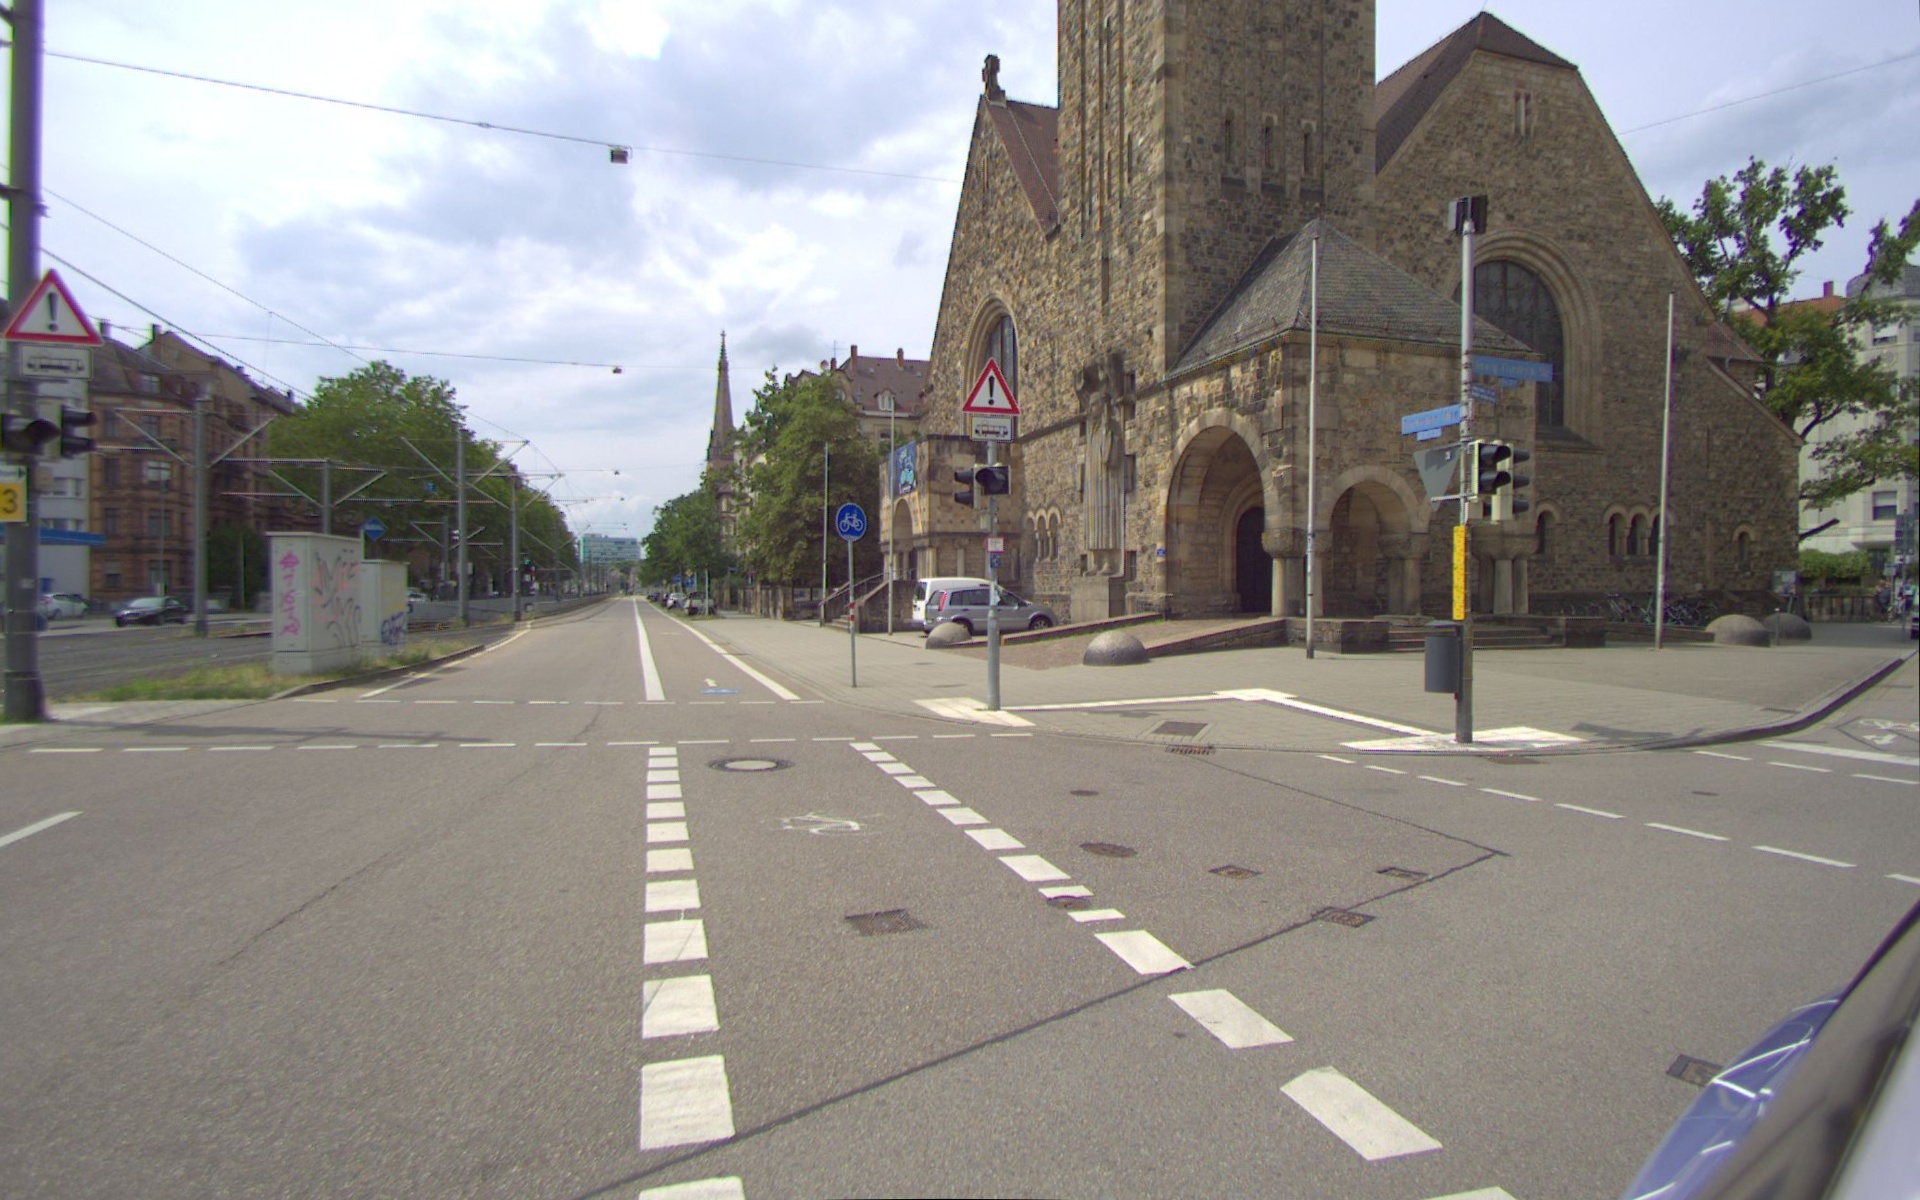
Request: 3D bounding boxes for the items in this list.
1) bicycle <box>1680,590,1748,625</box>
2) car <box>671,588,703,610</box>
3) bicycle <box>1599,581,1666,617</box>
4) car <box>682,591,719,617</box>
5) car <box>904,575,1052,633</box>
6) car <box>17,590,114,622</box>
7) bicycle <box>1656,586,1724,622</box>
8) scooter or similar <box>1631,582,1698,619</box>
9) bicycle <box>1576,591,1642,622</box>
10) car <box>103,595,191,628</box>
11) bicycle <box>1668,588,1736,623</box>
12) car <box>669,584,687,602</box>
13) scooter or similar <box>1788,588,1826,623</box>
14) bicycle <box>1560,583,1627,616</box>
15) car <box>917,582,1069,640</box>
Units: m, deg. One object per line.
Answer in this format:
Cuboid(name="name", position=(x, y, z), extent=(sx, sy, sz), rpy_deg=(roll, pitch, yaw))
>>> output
Cuboid(name="bicycle", position=(25.101, 0.238, 33.735), extent=(0.534, 1.126, 1.786), rpy_deg=(0, 1, -23))
Cuboid(name="car", position=(-18.356, -0.092, 67.901), extent=(1.911, 1.417, 4.009), rpy_deg=(-2, 1, -16))
Cuboid(name="bicycle", position=(21.616, -0.035, 32.572), extent=(0.534, 1.126, 1.786), rpy_deg=(0, 1, -23))
Cuboid(name="car", position=(-15.268, 0.192, 59.398), extent=(1.911, 1.417, 4.009), rpy_deg=(-2, 1, -16))
Cuboid(name="car", position=(0.554, 0.085, 32.283), extent=(4.328, 1.747, 1.956), rpy_deg=(0, 1, -18))
Cuboid(name="car", position=(-47.015, 0.260, 53.342), extent=(1.954, 1.534, 4.629), rpy_deg=(-2, 1, -15))
Cuboid(name="bicycle", position=(23.960, 0.121, 33.247), extent=(0.534, 1.126, 1.786), rpy_deg=(0, 1, -23))
Cuboid(name="scooter or similar", position=(22.852, -0.009, 32.857), extent=(0.534, 1.154, 1.786), rpy_deg=(0, 1, -23))
Cuboid(name="bicycle", position=(20.711, 0.193, 32.327), extent=(0.534, 0.969, 1.786), rpy_deg=(0, 1, -23))
Cuboid(name="car", position=(-38.843, 0.523, 48.448), extent=(1.722, 1.417, 4.008), rpy_deg=(-2, 1, -14))
Cuboid(name="bicycle", position=(24.523, 0.157, 33.467), extent=(0.534, 1.126, 1.778), rpy_deg=(0, 1, -23))
Cuboid(name="car", position=(-25.101, -0.638, 90.084), extent=(1.488, 1.426, 3.732), rpy_deg=(0, 3, -15))
Cuboid(name="scooter or similar", position=(29.732, 0.178, 35.533), extent=(1.413, 1.222, 0.546), rpy_deg=(0, 1, -29))
Cuboid(name="bicycle", position=(20.086, -0.031, 32.108), extent=(0.534, 0.969, 1.786), rpy_deg=(0, 3, -23))
Cuboid(name="car", position=(0.927, 0.280, 29.267), extent=(3.942, 1.562, 2.024), rpy_deg=(0, 1, -18))
